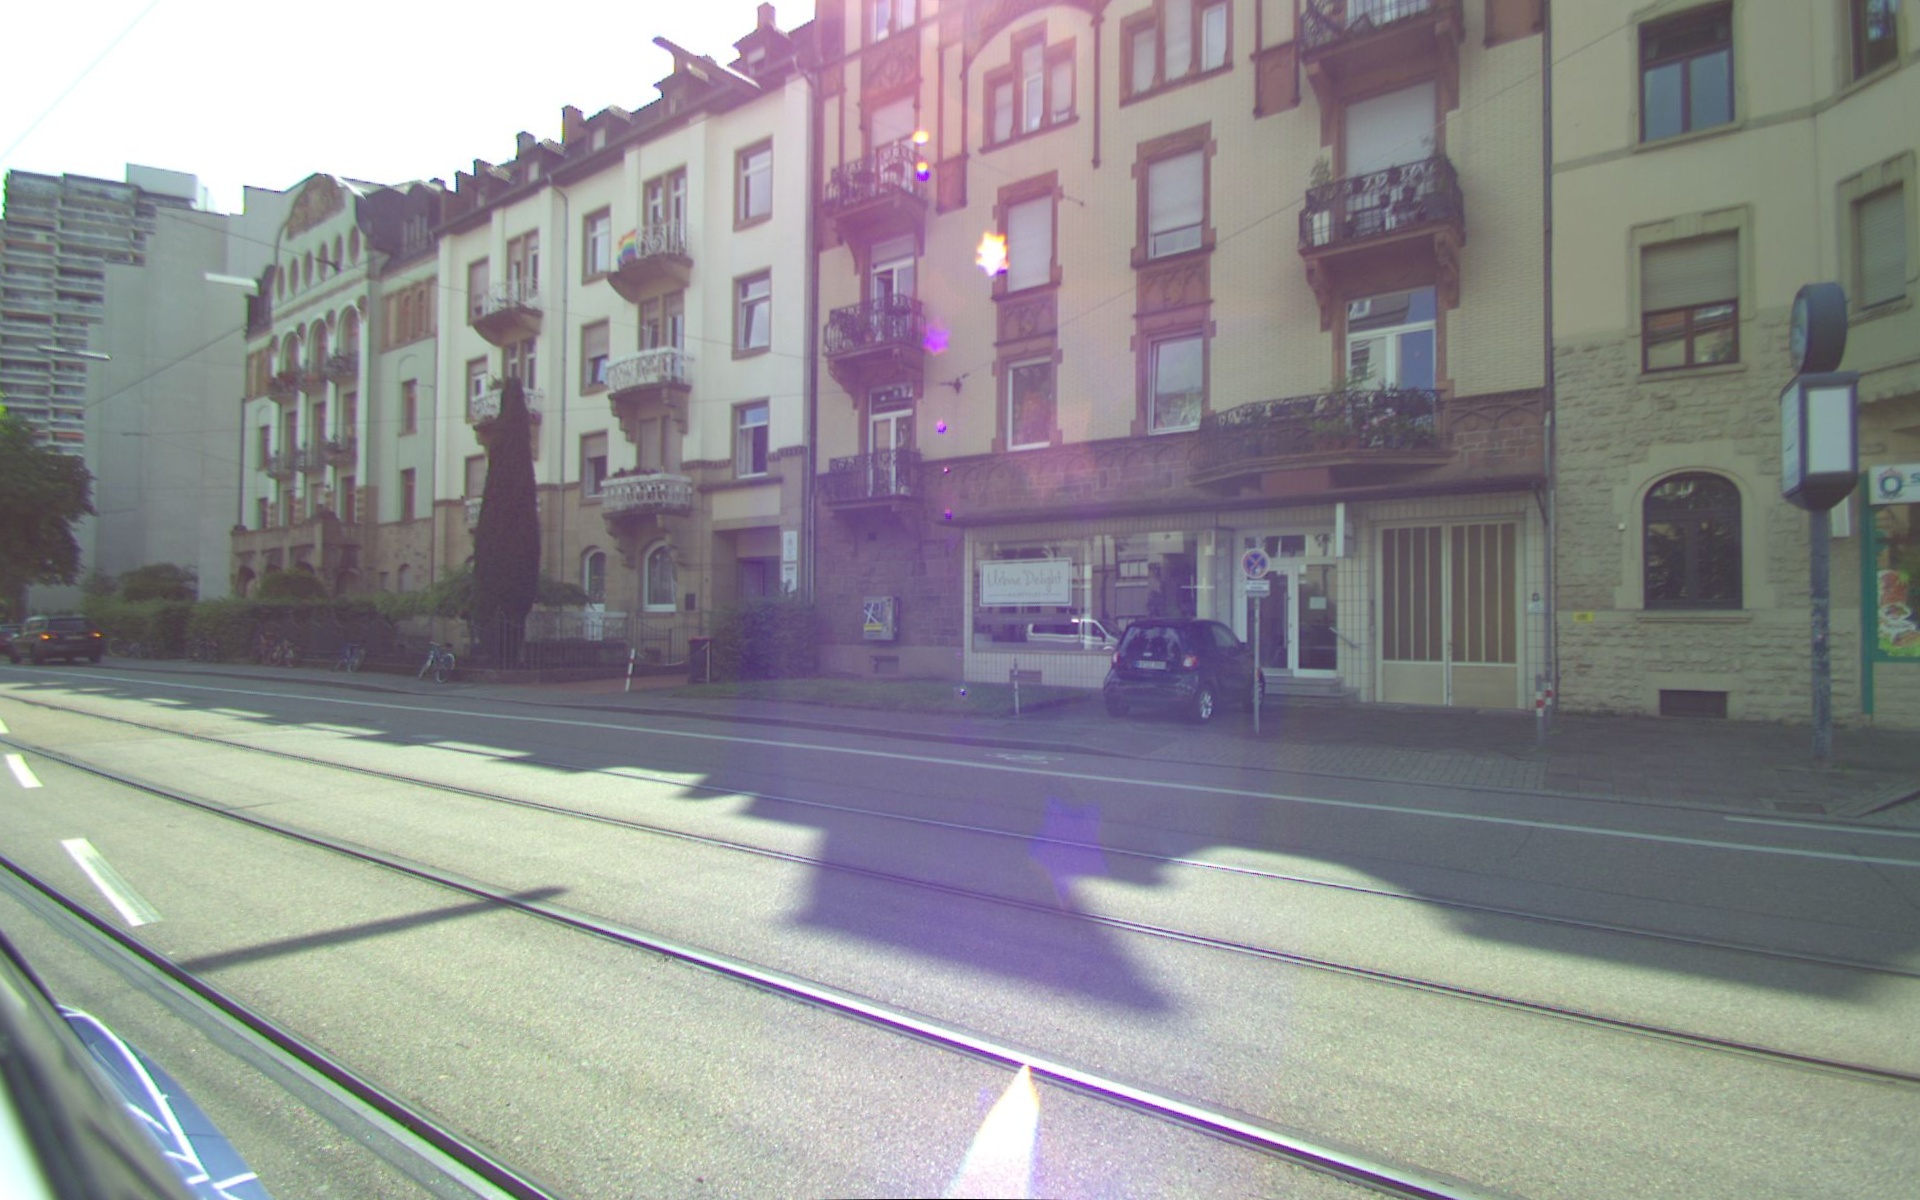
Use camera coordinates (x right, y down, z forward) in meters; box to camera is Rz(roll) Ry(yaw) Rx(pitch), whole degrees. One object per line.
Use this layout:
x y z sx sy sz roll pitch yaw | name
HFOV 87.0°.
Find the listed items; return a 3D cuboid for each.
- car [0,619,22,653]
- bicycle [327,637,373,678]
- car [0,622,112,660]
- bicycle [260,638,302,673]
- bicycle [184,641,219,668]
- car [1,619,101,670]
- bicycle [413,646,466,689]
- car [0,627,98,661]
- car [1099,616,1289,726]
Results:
-56.386 2.051 57.718 1.829 1.940 3.947 -1 -3 39 | car
-16.830 1.571 27.908 1.872 1.037 0.532 0 -2 42 | bicycle
-41.168 1.859 46.085 1.608 1.652 3.587 -1 -2 37 | car
-20.538 1.670 30.595 1.872 0.993 0.579 0 -2 42 | bicycle
-25.488 1.831 33.987 1.872 0.803 0.579 0 1 42 | bicycle
-32.451 1.554 36.096 4.323 1.724 1.775 -1 -3 36 | car
-12.654 1.620 24.577 2.068 0.913 0.517 1 -1 45 | bicycle
-43.472 2.074 47.879 1.633 1.547 3.842 -1 -3 38 | car
3.853 1.050 16.349 1.704 1.497 3.411 -1 0 38 | car
